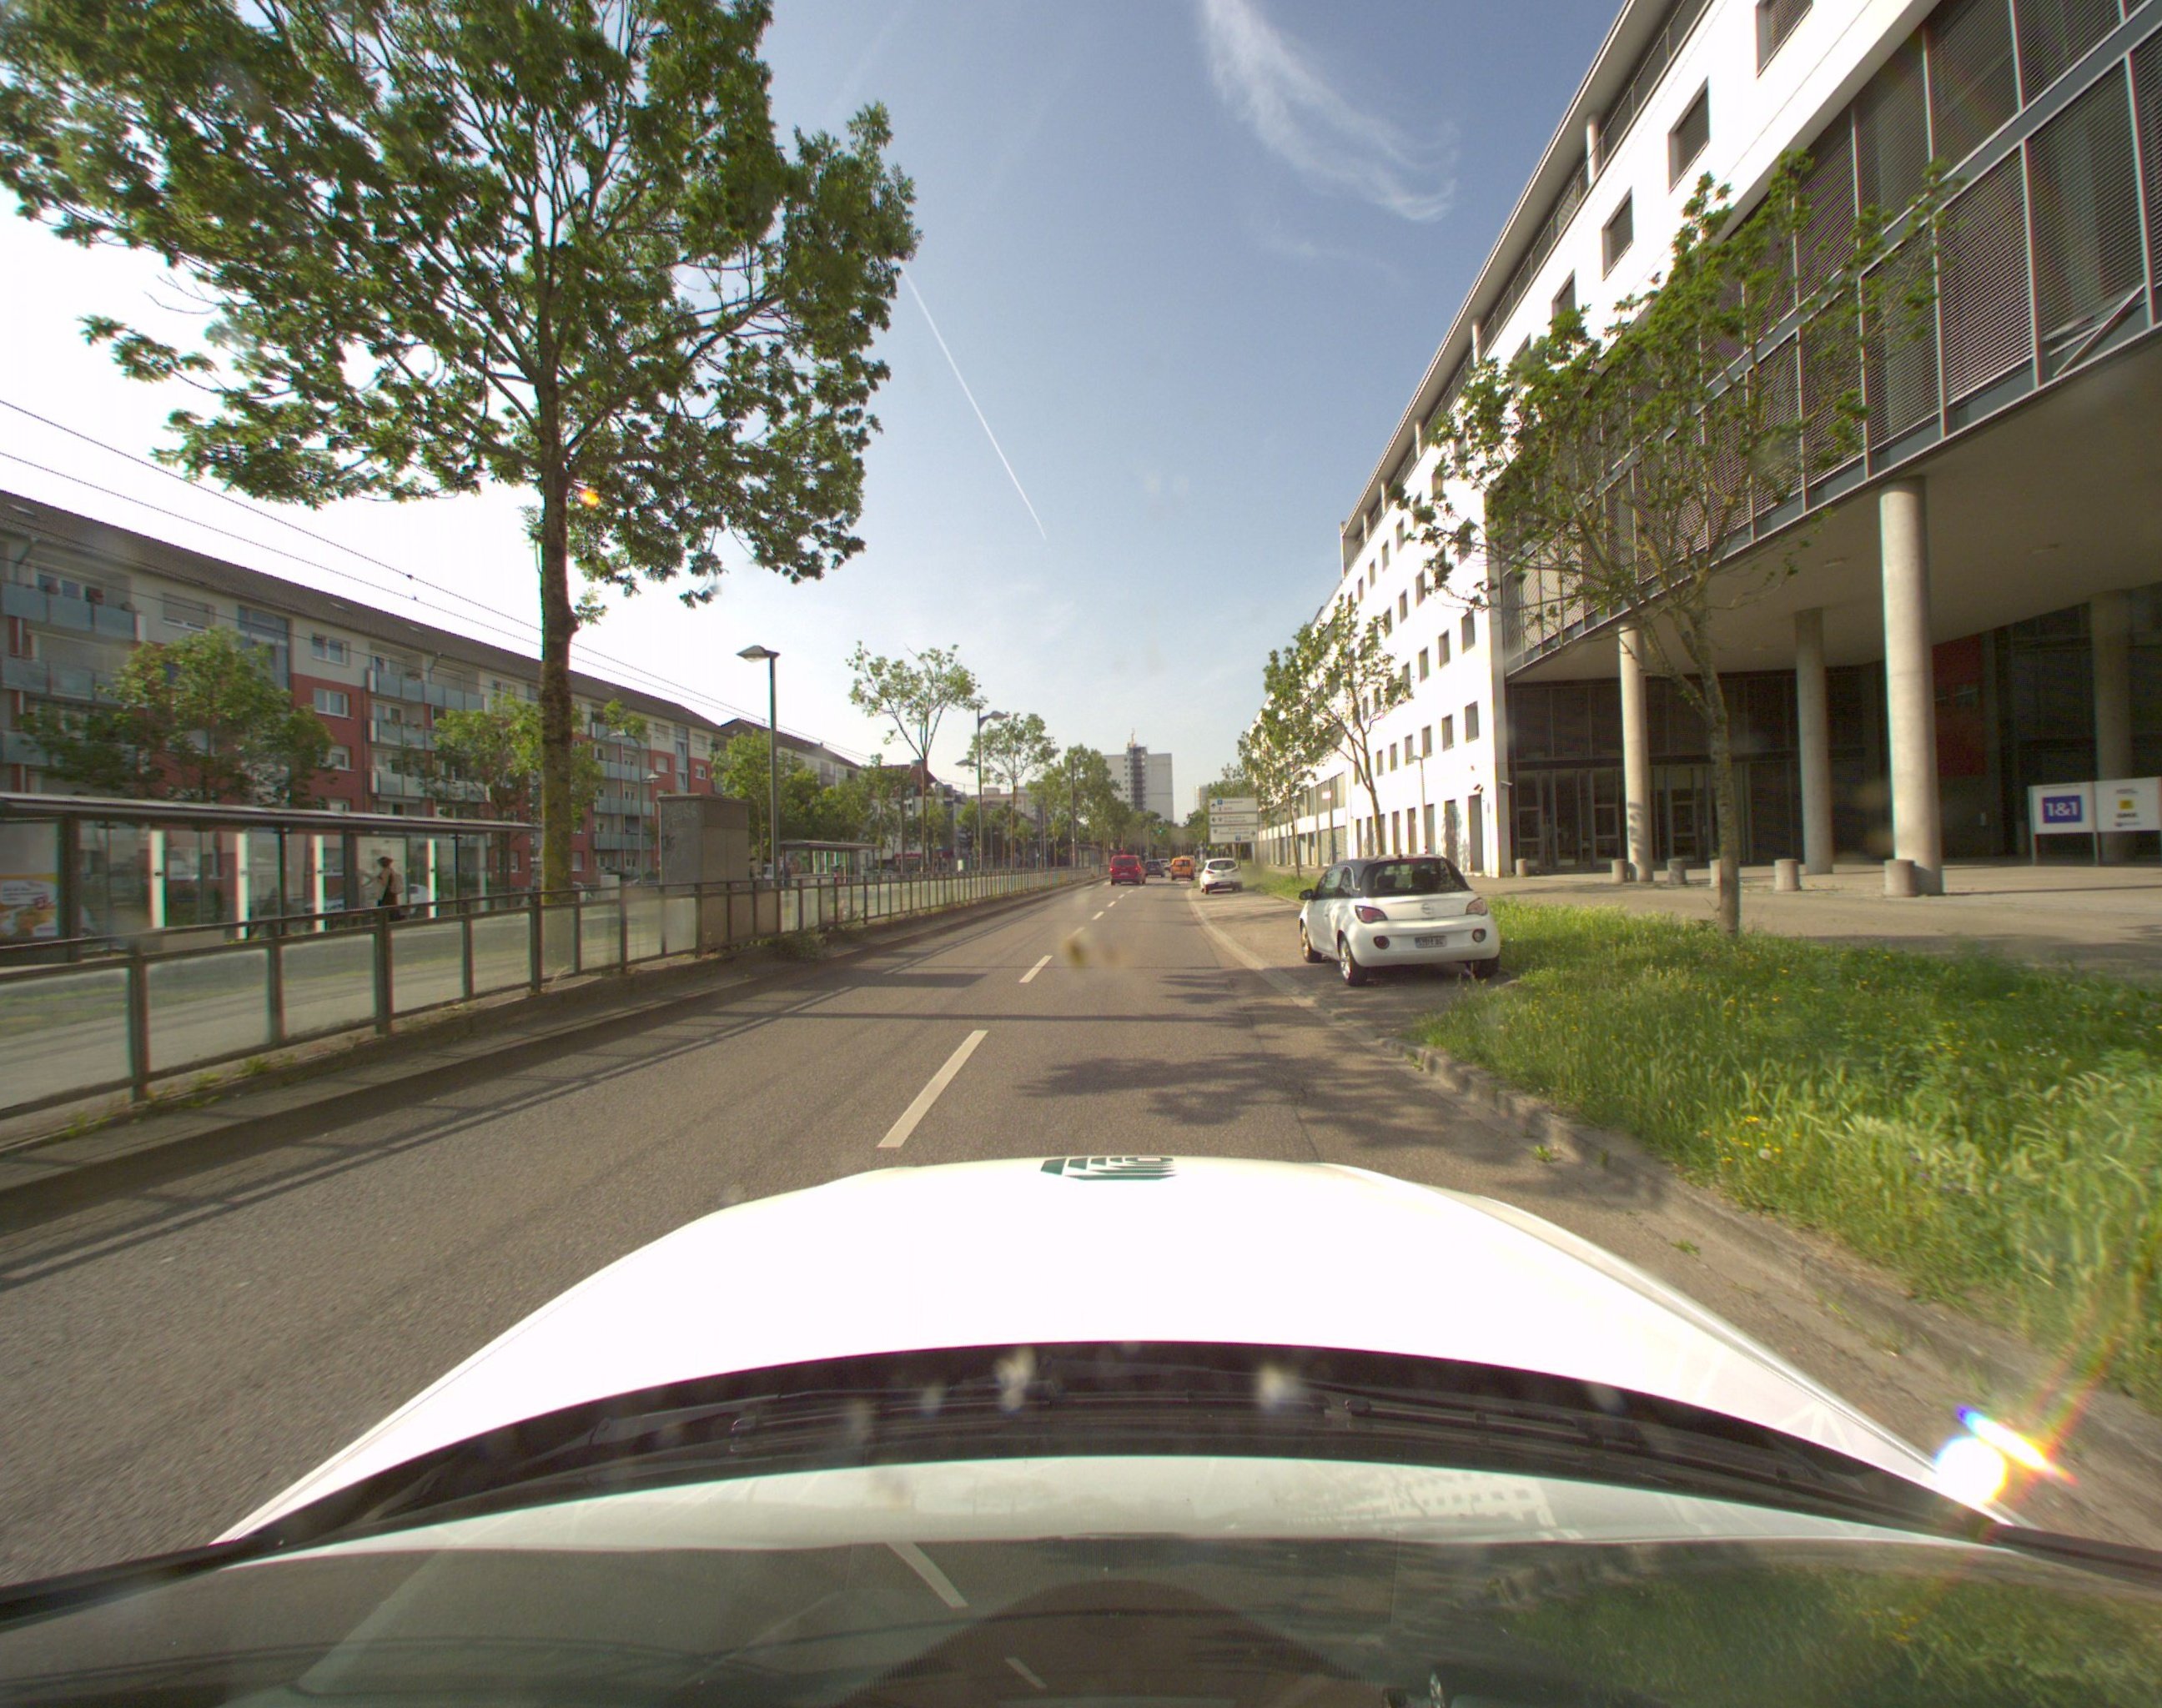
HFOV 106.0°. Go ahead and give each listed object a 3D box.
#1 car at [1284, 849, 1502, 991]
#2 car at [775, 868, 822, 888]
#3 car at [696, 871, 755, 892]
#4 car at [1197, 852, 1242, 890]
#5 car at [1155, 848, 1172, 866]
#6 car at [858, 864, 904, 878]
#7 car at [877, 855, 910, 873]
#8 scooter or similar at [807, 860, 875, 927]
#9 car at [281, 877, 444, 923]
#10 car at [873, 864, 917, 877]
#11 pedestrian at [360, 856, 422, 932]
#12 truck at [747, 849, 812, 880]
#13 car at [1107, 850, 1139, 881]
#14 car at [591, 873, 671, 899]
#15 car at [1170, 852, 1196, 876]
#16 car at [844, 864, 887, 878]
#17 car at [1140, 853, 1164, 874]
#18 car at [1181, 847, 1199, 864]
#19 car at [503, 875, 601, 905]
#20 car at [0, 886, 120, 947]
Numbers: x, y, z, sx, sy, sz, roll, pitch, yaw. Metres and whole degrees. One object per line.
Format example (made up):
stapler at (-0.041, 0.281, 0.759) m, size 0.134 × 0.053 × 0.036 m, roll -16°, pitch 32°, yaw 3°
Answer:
car at (3.888, 0.715, 10.826) m, size 1.712 × 1.519 × 3.787 m, roll -2°, pitch 0°, yaw 5°
car at (-23.098, 1.918, 66.735) m, size 1.971 × 1.513 × 4.287 m, roll 0°, pitch 0°, yaw 5°
car at (-24.367, 1.850, 55.919) m, size 1.971 × 1.360 × 4.075 m, roll 0°, pitch 0°, yaw 5°
car at (6.191, 0.731, 36.736) m, size 1.680 × 1.526 × 3.857 m, roll -4°, pitch -1°, yaw 6°
car at (10.077, 0.342, 99.746) m, size 1.984 × 2.013 × 4.006 m, roll -2°, pitch 0°, yaw 5°
car at (-19.856, 1.713, 80.842) m, size 3.953 × 1.244 × 1.949 m, roll -1°, pitch 0°, yaw 21°
car at (-23.095, 1.166, 100.446) m, size 2.354 × 2.030 × 5.319 m, roll -2°, pitch 0°, yaw 5°
scooter or similar at (-4.704, 0.765, 16.042) m, size 0.422 × 1.239 × 1.270 m, roll -3°, pitch -1°, yaw 33°
car at (-27.299, 1.693, 31.186) m, size 1.971 × 1.556 × 4.544 m, roll 0°, pitch 0°, yaw 5°
car at (-19.004, 1.711, 83.183) m, size 3.953 × 1.244 × 1.949 m, roll -1°, pitch 0°, yaw 21°
pedestrian at (-15.583, 0.882, 18.405) m, size 0.669 × 1.653 × 0.795 m, roll -2°, pitch -1°, yaw 2°
truck at (-26.042, 0.870, 70.797) m, size 2.354 × 2.563 × 7.251 m, roll 0°, pitch 0°, yaw 5°
car at (2.770, 0.718, 52.473) m, size 1.865 × 1.853 × 4.005 m, roll -1°, pitch 0°, yaw 5°
car at (-25.405, 1.788, 46.174) m, size 1.971 × 1.360 × 4.075 m, roll 0°, pitch 0°, yaw 5°
car at (7.834, 0.744, 62.700) m, size 1.866 × 1.696 × 3.981 m, roll -1°, pitch 0°, yaw 7°
car at (-20.474, 1.652, 77.271) m, size 3.948 × 1.244 × 1.844 m, roll -2°, pitch 0°, yaw 36°
car at (6.432, 0.815, 73.197) m, size 1.983 × 1.706 × 4.007 m, roll -2°, pitch 0°, yaw 6°
car at (13.474, 0.170, 100.930) m, size 1.983 × 2.013 × 4.007 m, roll -2°, pitch 0°, yaw 6°
car at (-26.279, 1.752, 40.628) m, size 1.971 × 1.360 × 4.075 m, roll 0°, pitch 0°, yaw 5°
car at (-28.386, 1.630, 21.287) m, size 1.824 × 1.471 × 3.832 m, roll 0°, pitch 0°, yaw 5°
